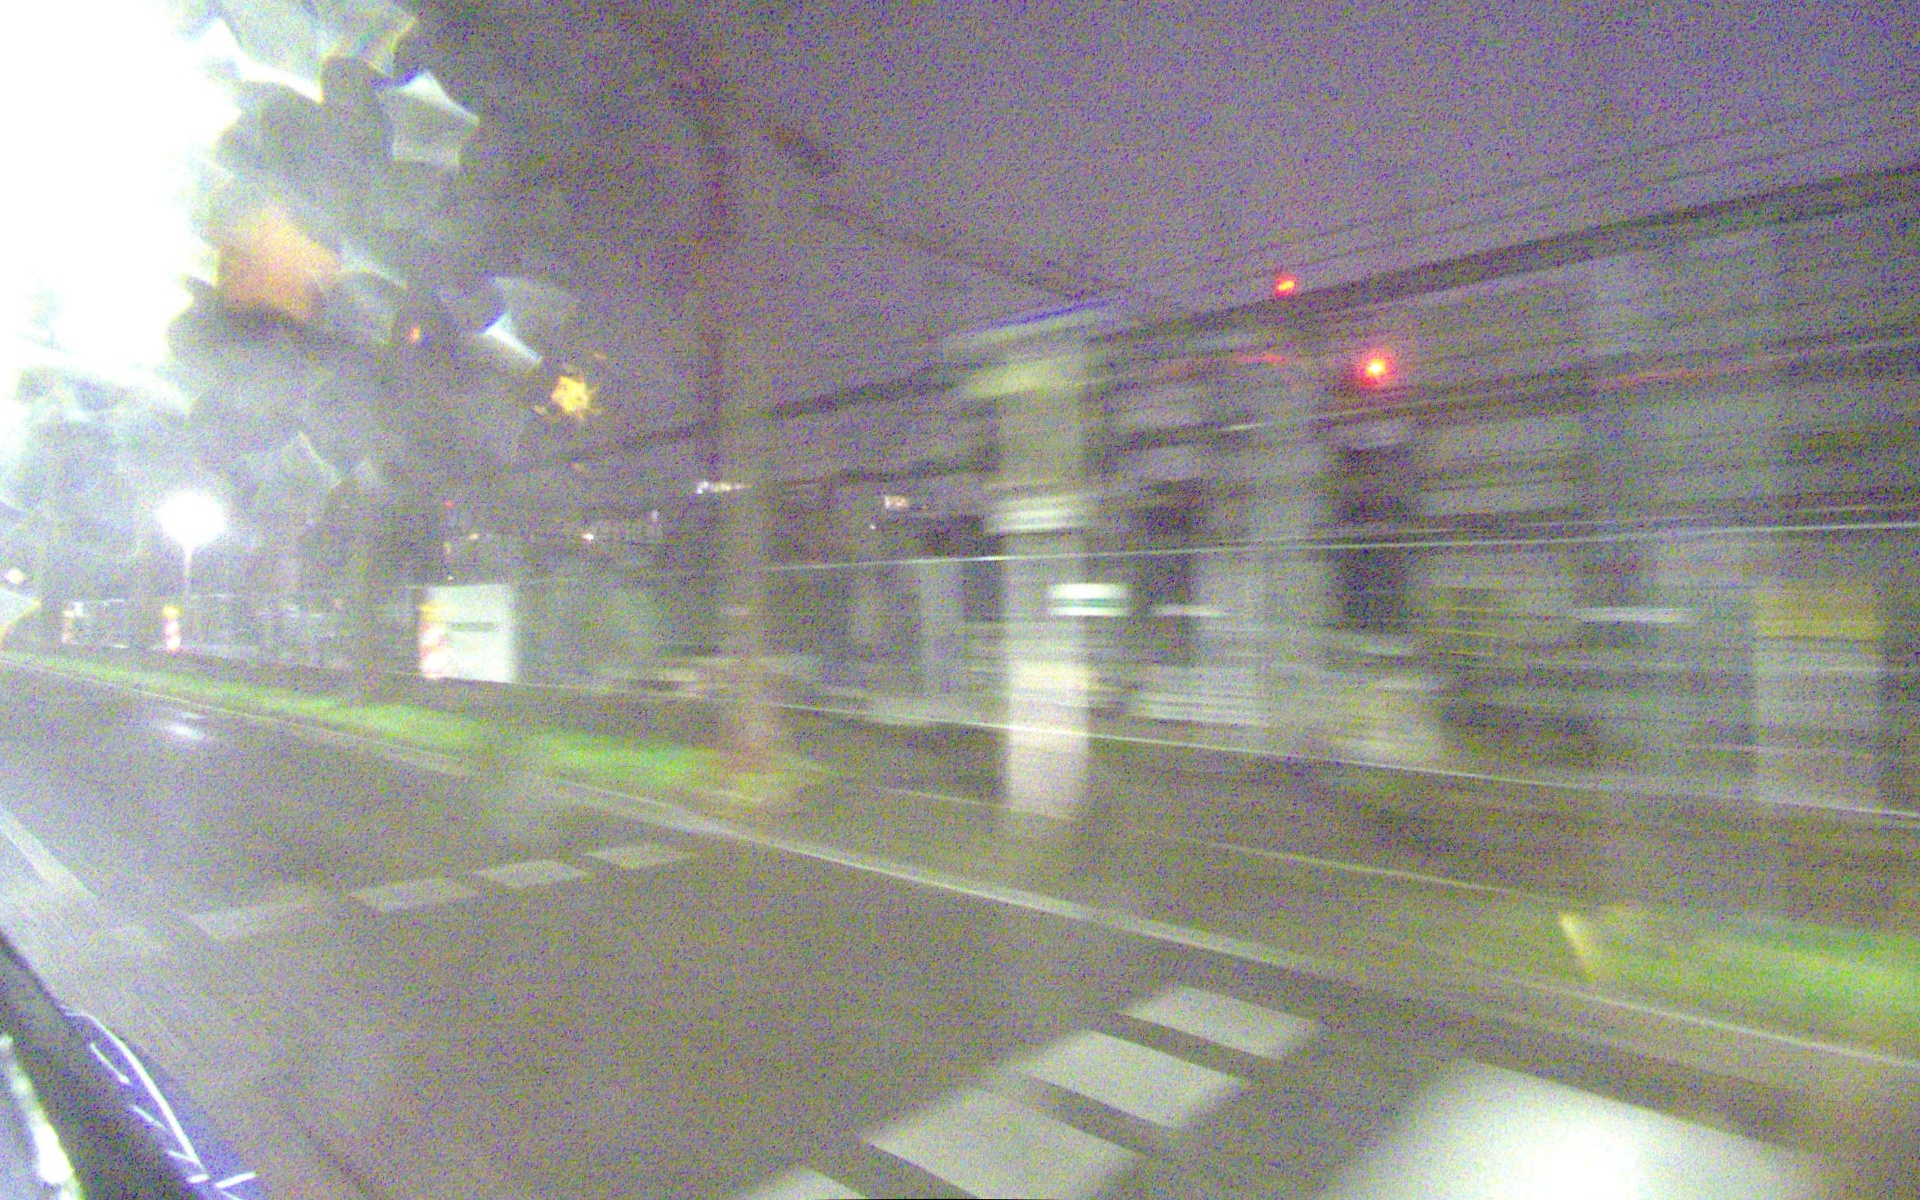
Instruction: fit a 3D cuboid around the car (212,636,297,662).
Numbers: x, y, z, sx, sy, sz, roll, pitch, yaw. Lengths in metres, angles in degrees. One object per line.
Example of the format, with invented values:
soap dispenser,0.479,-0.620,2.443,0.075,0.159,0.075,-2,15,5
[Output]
car,-42.887,2.984,61.564,4.029,1.381,1.495,3,1,-45
